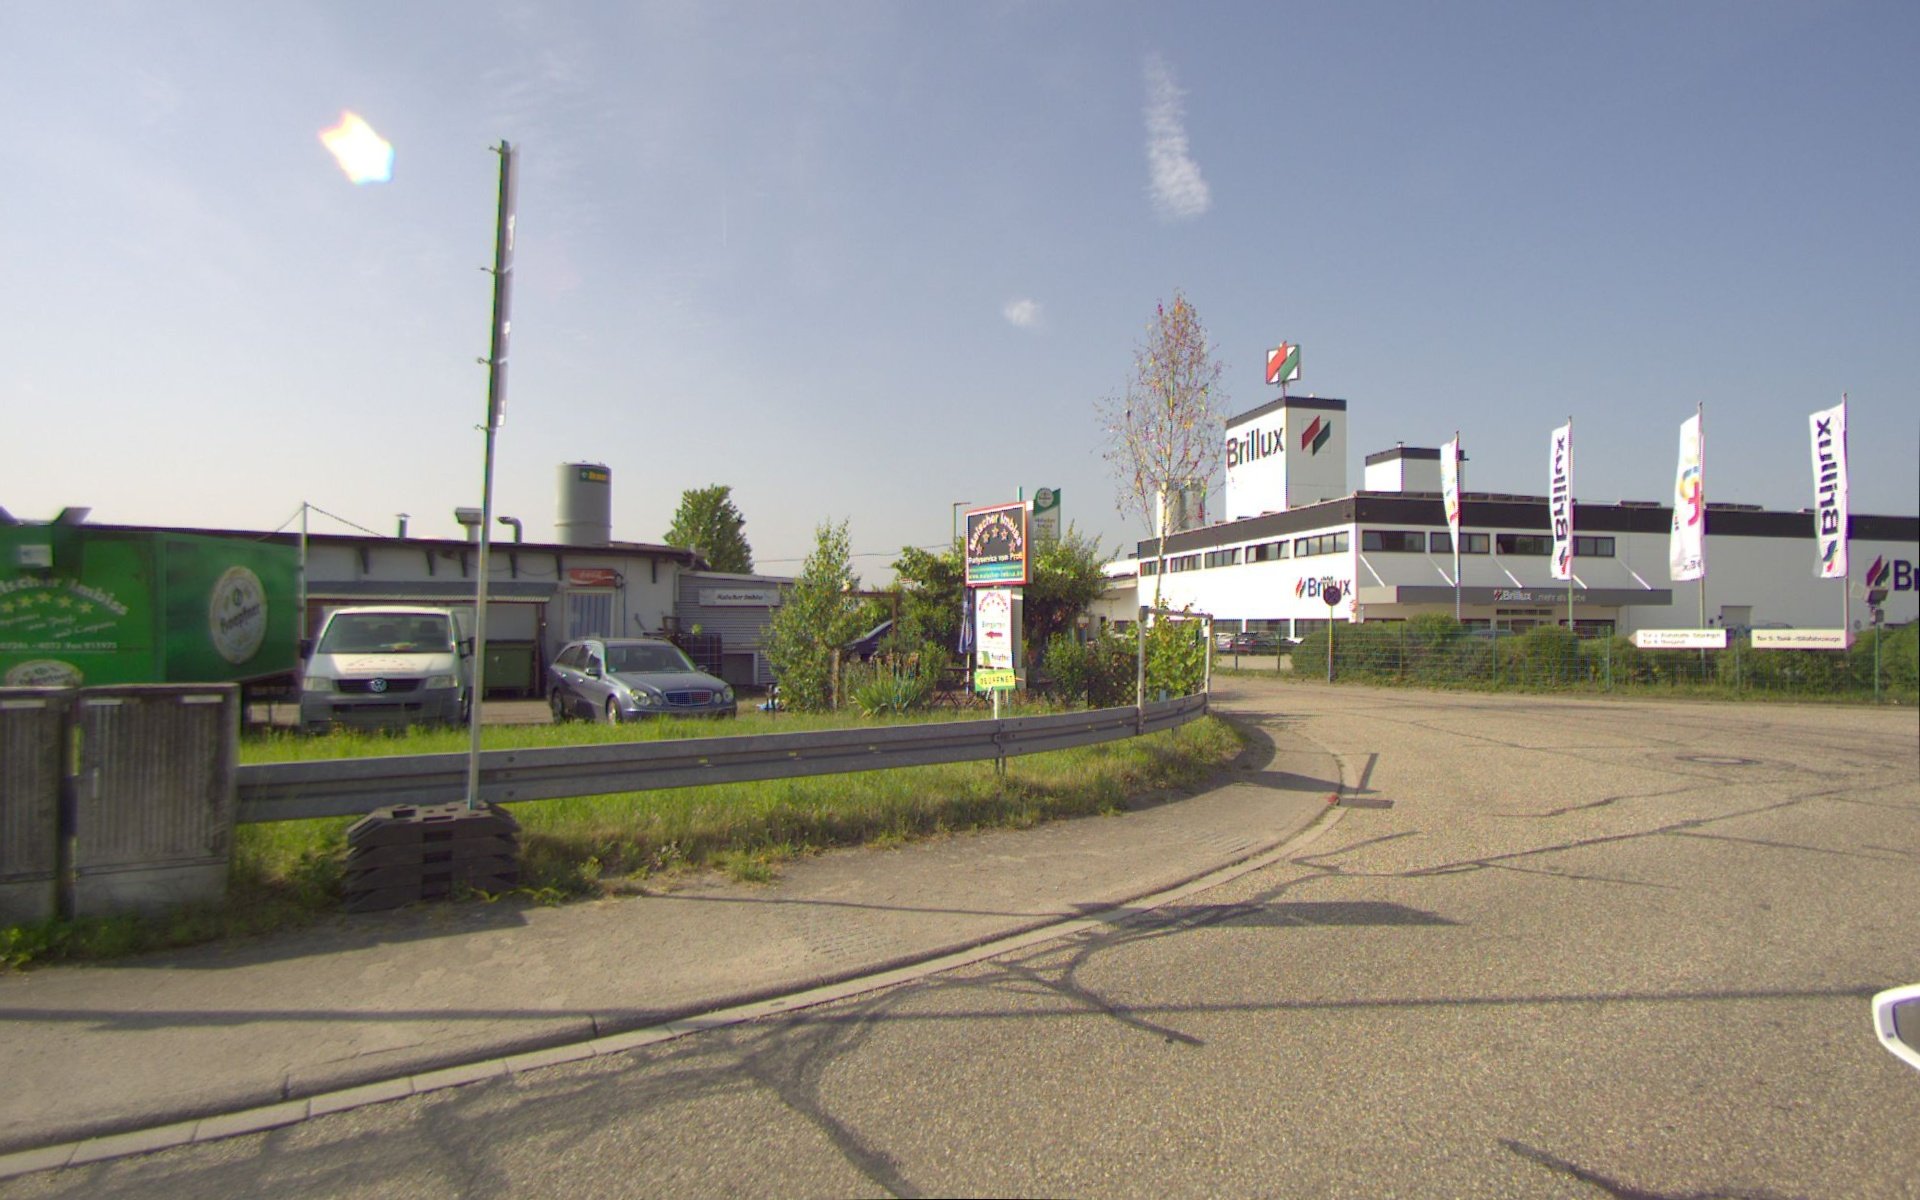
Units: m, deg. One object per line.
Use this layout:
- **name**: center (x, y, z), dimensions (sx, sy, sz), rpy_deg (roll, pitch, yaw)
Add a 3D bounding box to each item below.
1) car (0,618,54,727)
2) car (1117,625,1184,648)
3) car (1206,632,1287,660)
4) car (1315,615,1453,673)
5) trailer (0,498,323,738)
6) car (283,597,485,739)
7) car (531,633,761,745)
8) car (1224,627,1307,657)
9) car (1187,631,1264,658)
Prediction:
- **car**: center (-14.499, 0.990, 12.678), dimensions (2.139, 1.554, 5.135), rpy_deg (-1, -2, -10)
- **car**: center (14.819, 2.843, 78.042), dimensions (5.002, 1.724, 1.984), rpy_deg (1, -3, -30)
- **car**: center (17.960, 2.883, 62.994), dimensions (5.002, 1.724, 1.984), rpy_deg (1, -3, -30)
- **car**: center (13.780, 1.426, 33.007), dimensions (2.112, 1.775, 4.660), rpy_deg (0, -2, -8)
- **trailer**: center (-11.627, 0.350, 14.020), dimensions (2.807, 2.638, 6.310), rpy_deg (0, -3, -15)
- **car**: center (-8.344, 0.959, 15.045), dimensions (1.972, 1.728, 5.252), rpy_deg (1, -3, -23)
- **car**: center (-5.200, 1.313, 16.189), dimensions (1.946, 1.530, 4.785), rpy_deg (2, -3, -39)
- **car**: center (18.237, 2.534, 59.916), dimensions (5.007, 1.724, 1.983), rpy_deg (1, -3, -33)
- **car**: center (17.564, 2.903, 66.336), dimensions (5.002, 1.724, 1.984), rpy_deg (1, -3, -30)
